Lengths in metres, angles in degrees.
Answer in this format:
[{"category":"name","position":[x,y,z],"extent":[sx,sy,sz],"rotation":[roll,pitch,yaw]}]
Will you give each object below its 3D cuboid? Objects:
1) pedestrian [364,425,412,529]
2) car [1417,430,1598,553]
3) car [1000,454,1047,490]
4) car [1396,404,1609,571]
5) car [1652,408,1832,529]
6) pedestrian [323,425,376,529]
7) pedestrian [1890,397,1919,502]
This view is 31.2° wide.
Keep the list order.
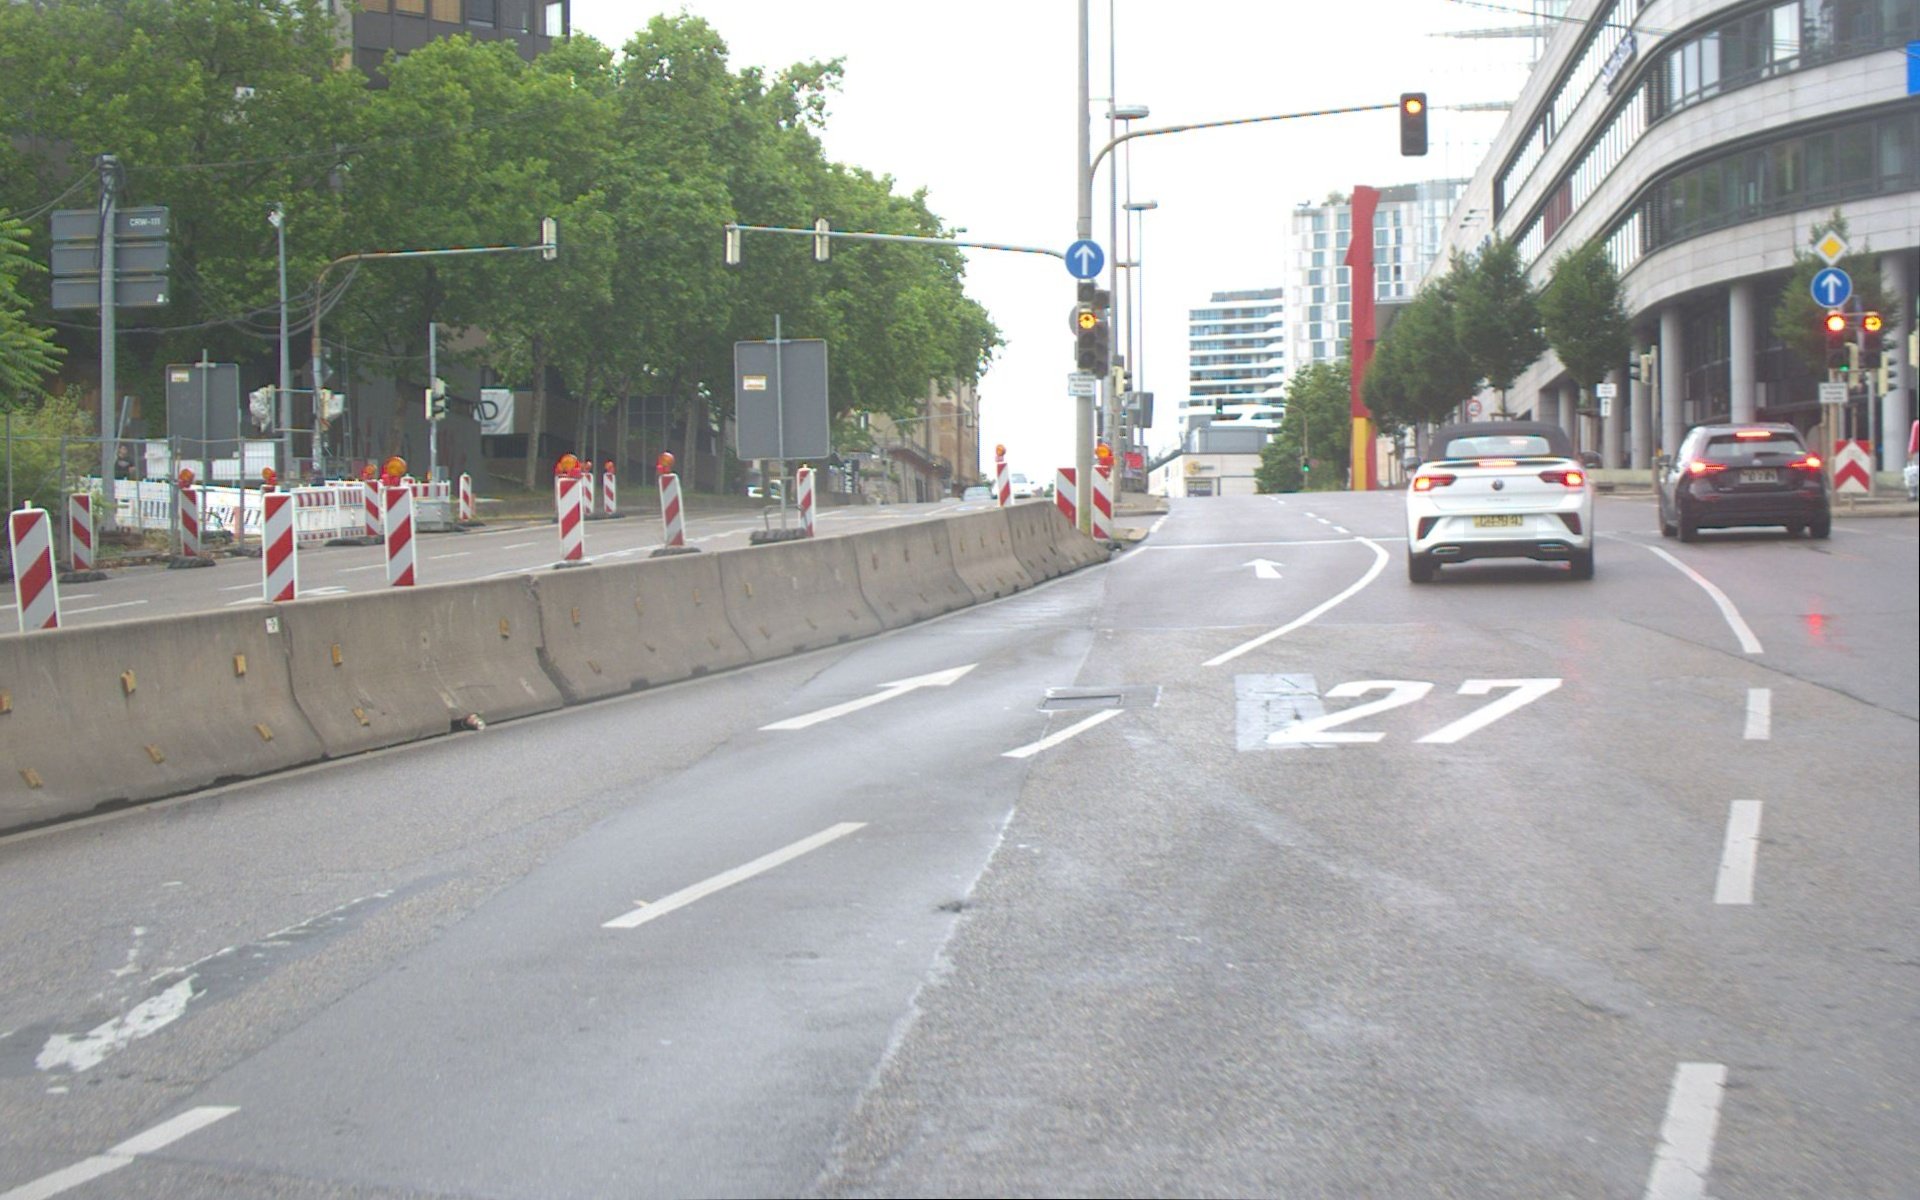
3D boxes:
[{"category":"pedestrian","position":[-10.617,-2.274,63.830],"extent":[0.672,1.895,0.775],"rotation":[-1,0,7]},{"category":"car","position":[6.797,-1.377,43.019],"extent":[1.740,1.438,4.000],"rotation":[-1,2,2]},{"category":"car","position":[2.792,-5.587,150.030],"extent":[1.761,1.455,4.360],"rotation":[-2,3,4]},{"category":"car","position":[5.434,-1.154,34.388],"extent":[1.964,1.543,4.218],"rotation":[-1,3,9]},{"category":"car","position":[9.542,-1.594,42.208],"extent":[1.755,1.402,4.226],"rotation":[1,2,8]},{"category":"pedestrian","position":[-11.354,-2.283,63.988],"extent":[0.761,1.916,0.742],"rotation":[-1,0,7]},{"category":"pedestrian","position":[17.539,-2.747,62.813],"extent":[0.842,1.898,0.860],"rotation":[0,0,31]}]
